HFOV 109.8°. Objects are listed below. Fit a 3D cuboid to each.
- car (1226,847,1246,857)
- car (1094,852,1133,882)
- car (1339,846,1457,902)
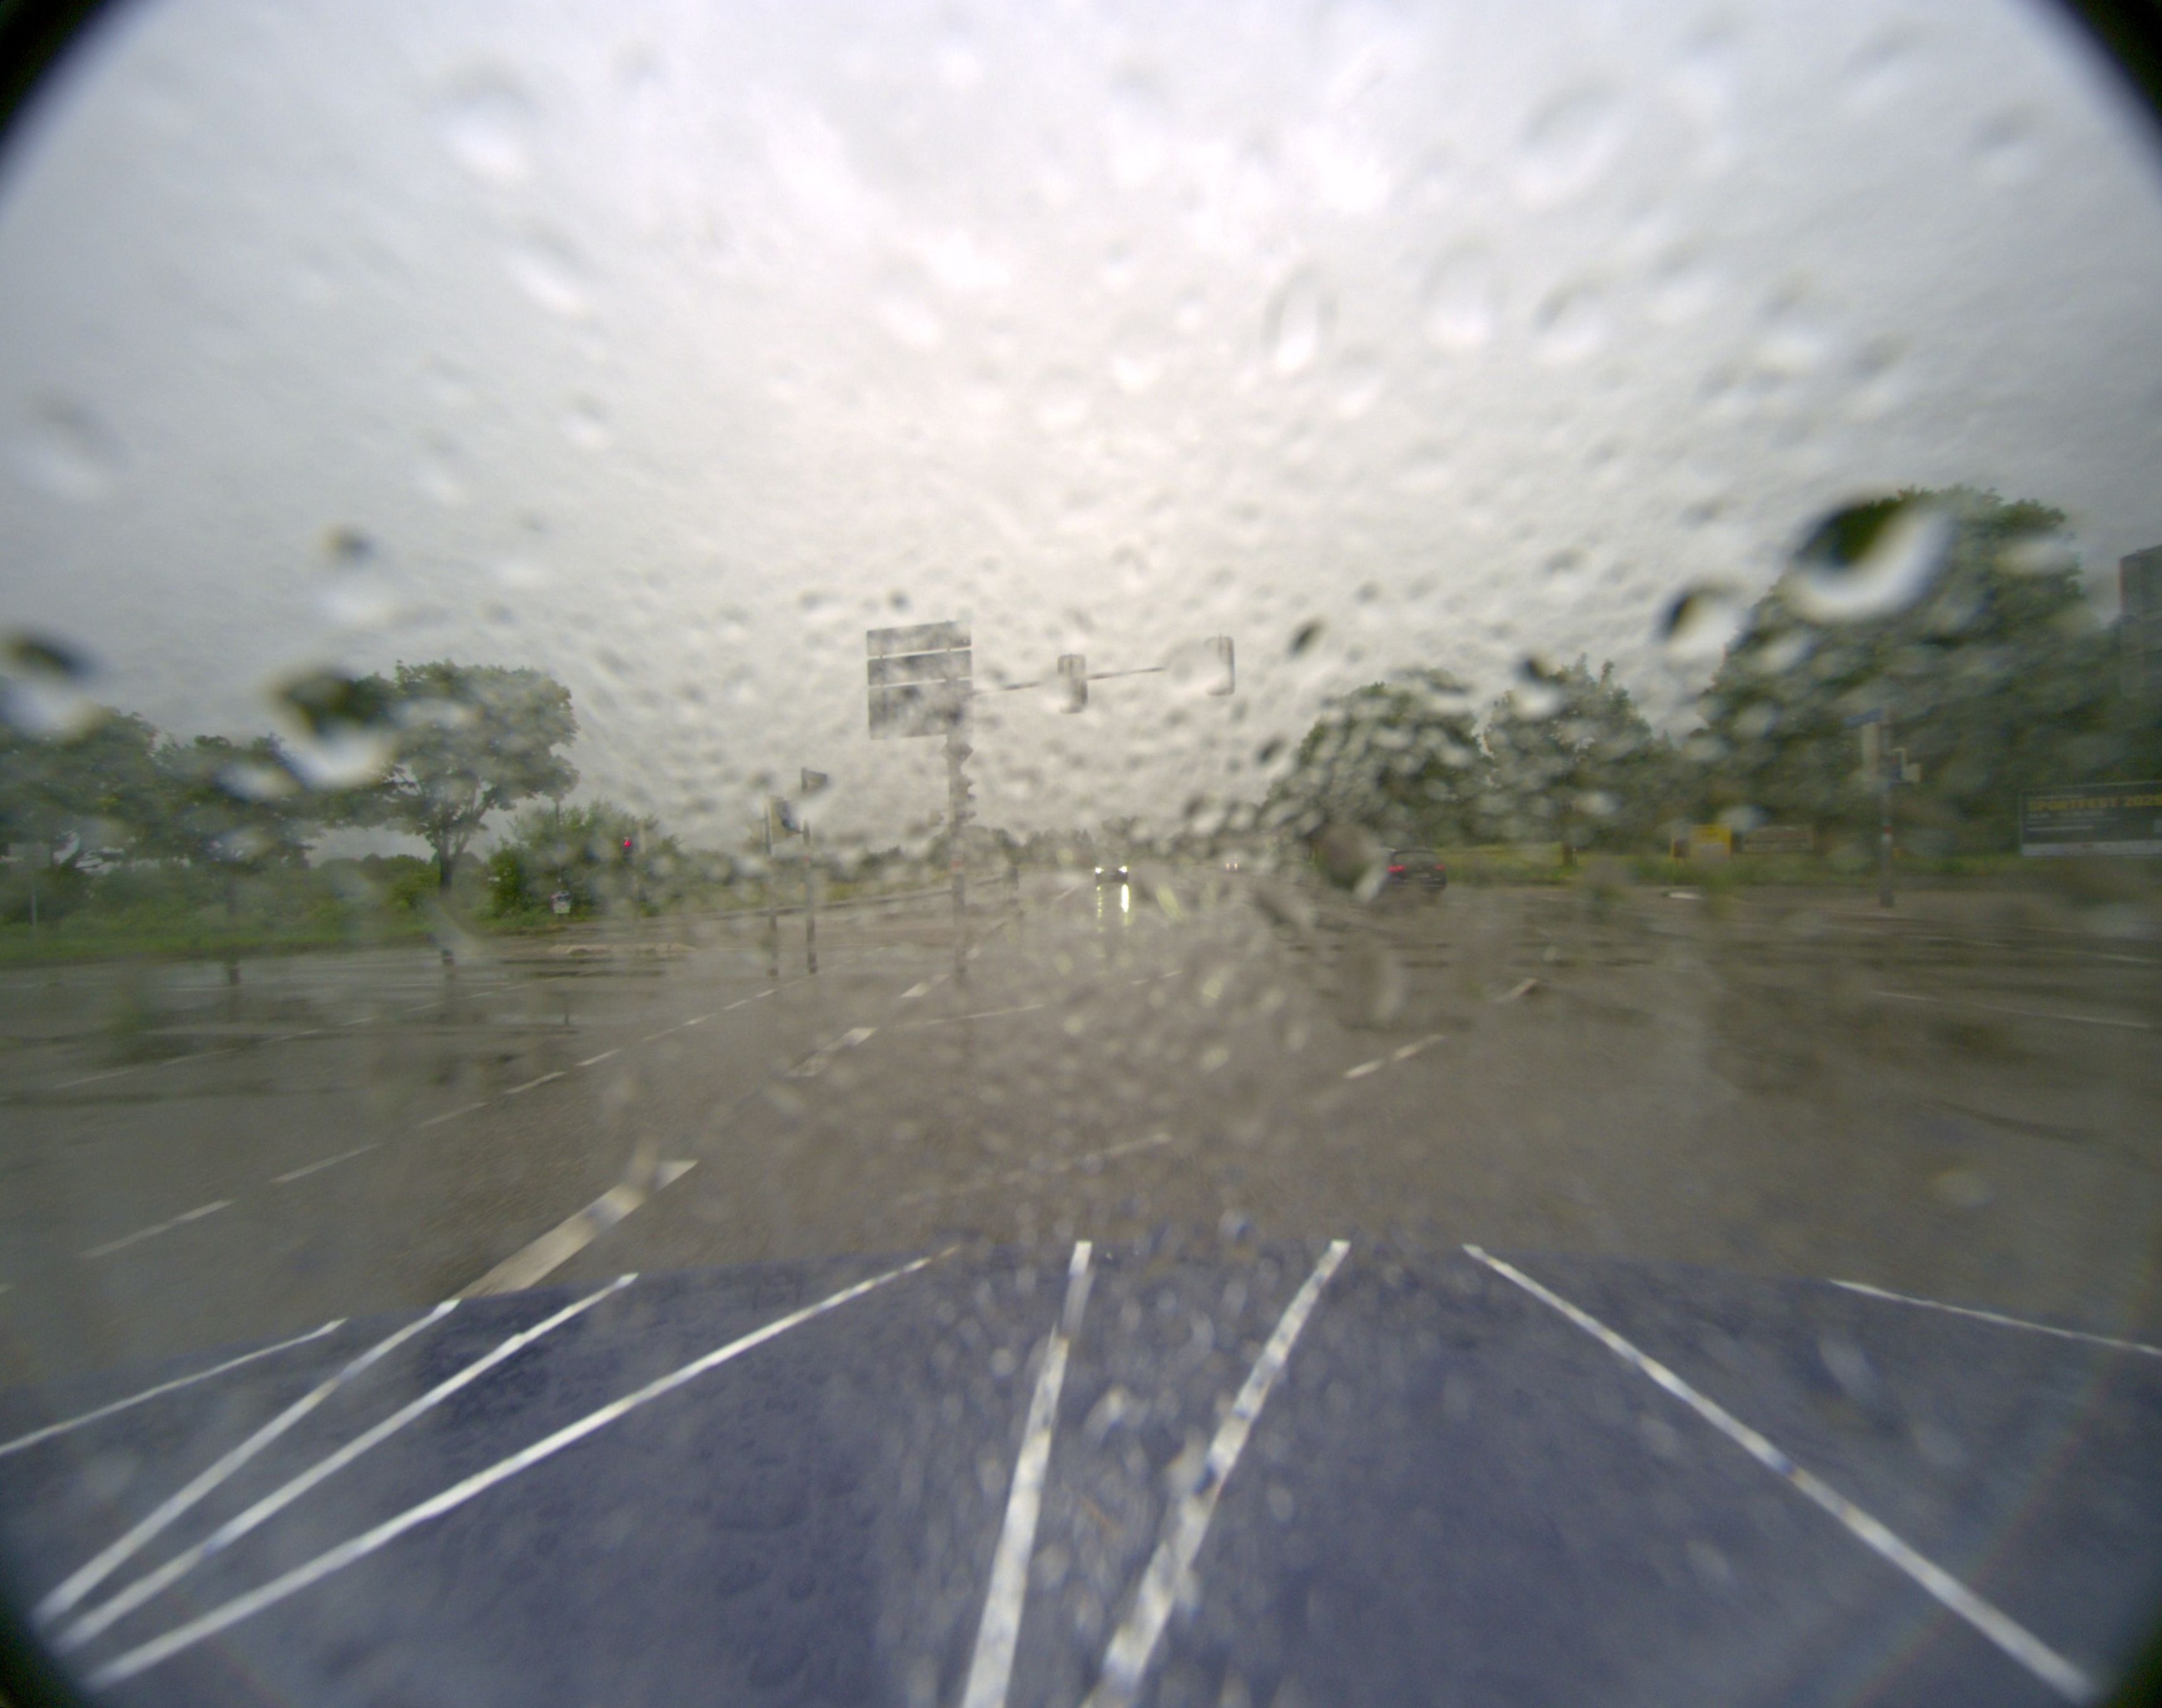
[{"bbox_3d":[28.214,-0.299,137.815,1.912,1.678,4.111,-1,1,37],"label":"car"},{"bbox_3d":[1.844,0.716,43.749,1.916,1.576,4.102,-2,1,-1],"label":"car"},{"bbox_3d":[9.312,0.522,22.736,1.713,1.457,4.452,-2,1,1],"label":"car"}]
